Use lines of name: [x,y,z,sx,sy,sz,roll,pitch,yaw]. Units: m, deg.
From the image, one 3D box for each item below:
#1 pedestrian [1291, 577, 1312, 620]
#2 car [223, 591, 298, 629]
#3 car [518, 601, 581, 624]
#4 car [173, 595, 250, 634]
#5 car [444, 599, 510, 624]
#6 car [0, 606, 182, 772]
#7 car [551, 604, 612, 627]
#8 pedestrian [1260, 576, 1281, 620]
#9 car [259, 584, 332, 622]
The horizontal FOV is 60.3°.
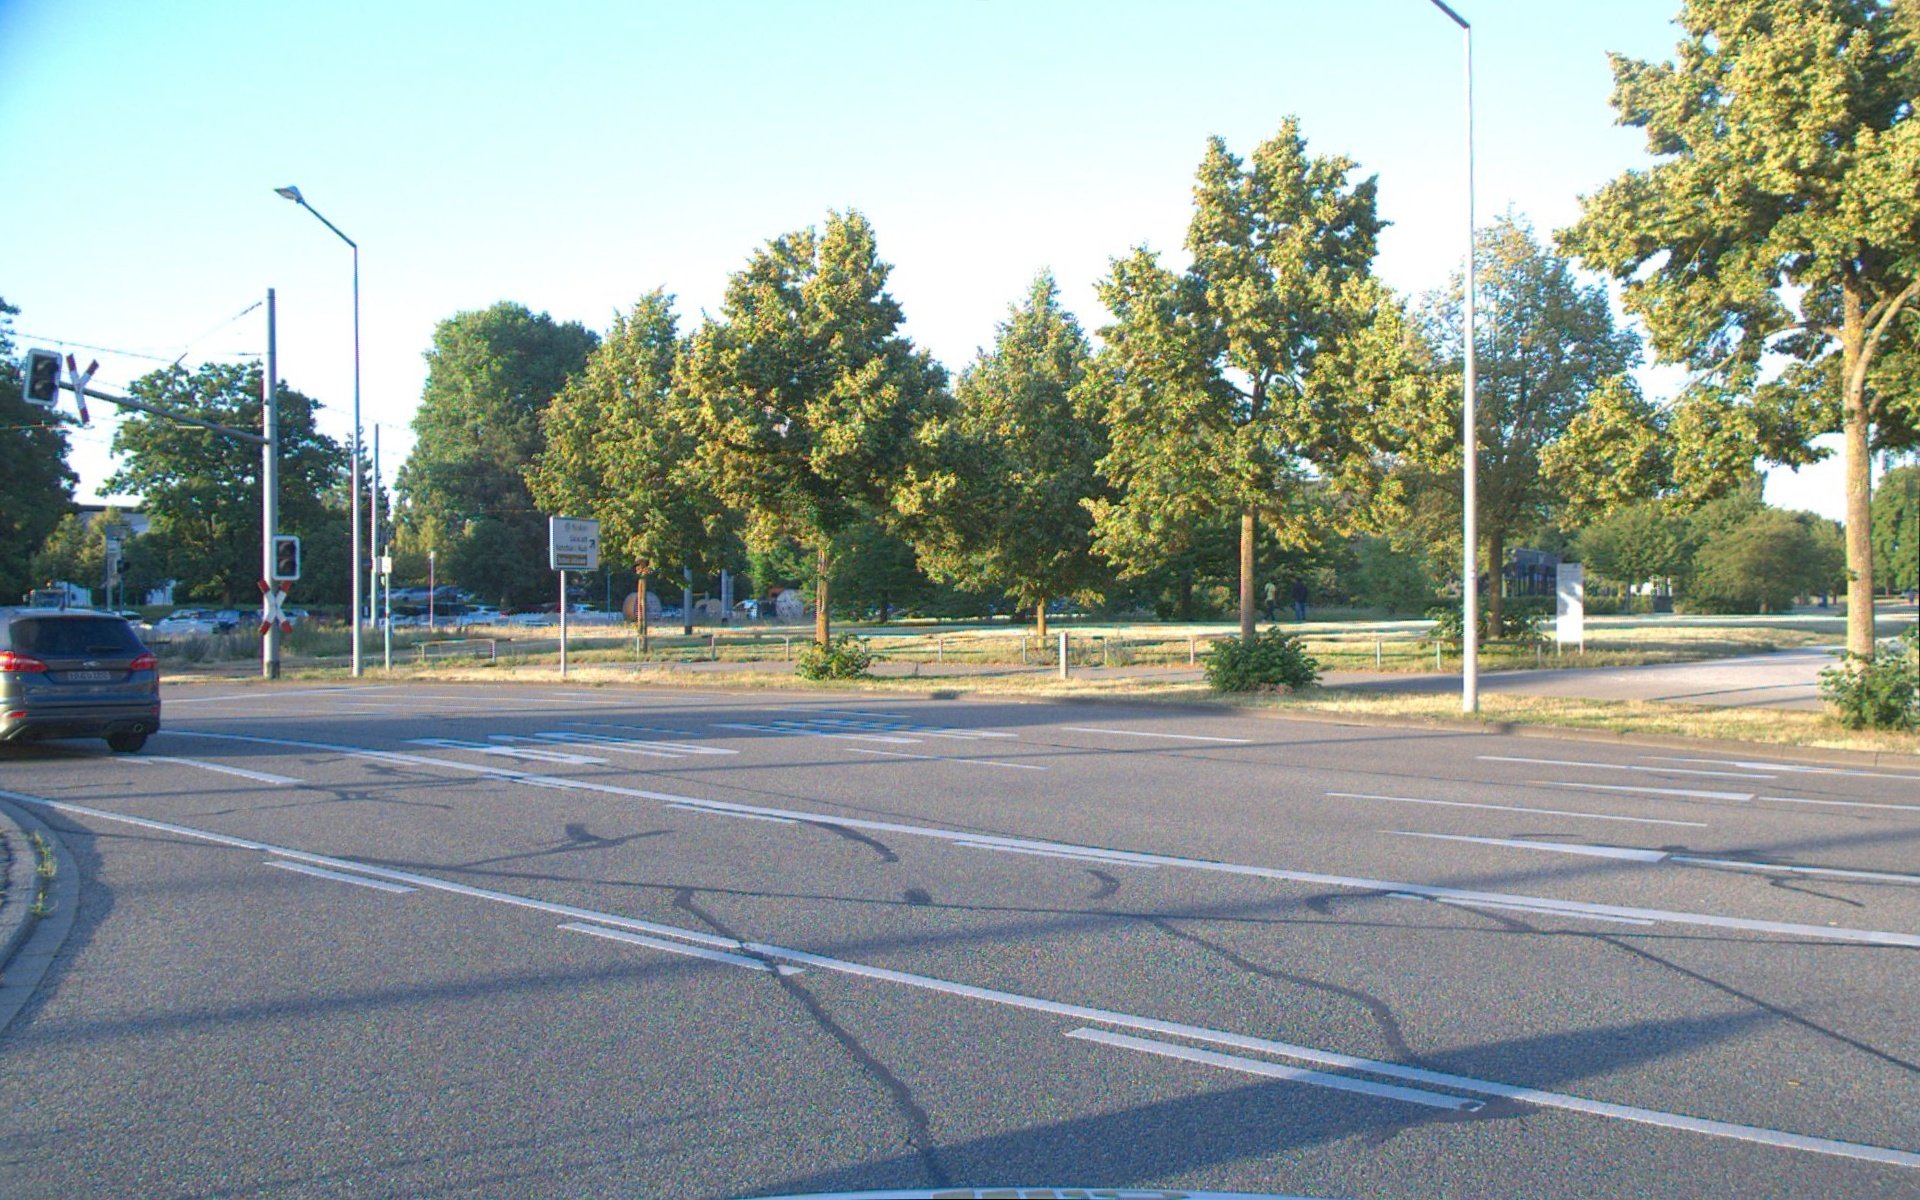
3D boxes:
pedestrian: [12.969,-0.059,62.834,0.612,1.655,0.525,0,0,-32]
car: [-39.643,0.565,93.748,3.913,2.135,1.996,0,0,31]
car: [-28.182,0.853,113.630,3.912,1.578,1.997,0,0,29]
car: [-41.313,0.796,91.236,3.913,2.135,1.996,0,0,31]
car: [-31.382,0.732,107.420,3.912,1.578,1.997,0,0,29]
car: [-9.911,0.835,17.200,4.057,1.492,1.743,0,1,40]
car: [-26.488,1.092,115.736,3.912,1.578,1.997,0,0,29]
pedestrian: [11.870,-0.069,63.176,0.572,1.655,0.528,0,0,-29]
car: [-38.682,0.173,96.265,3.913,2.135,1.996,0,0,31]
